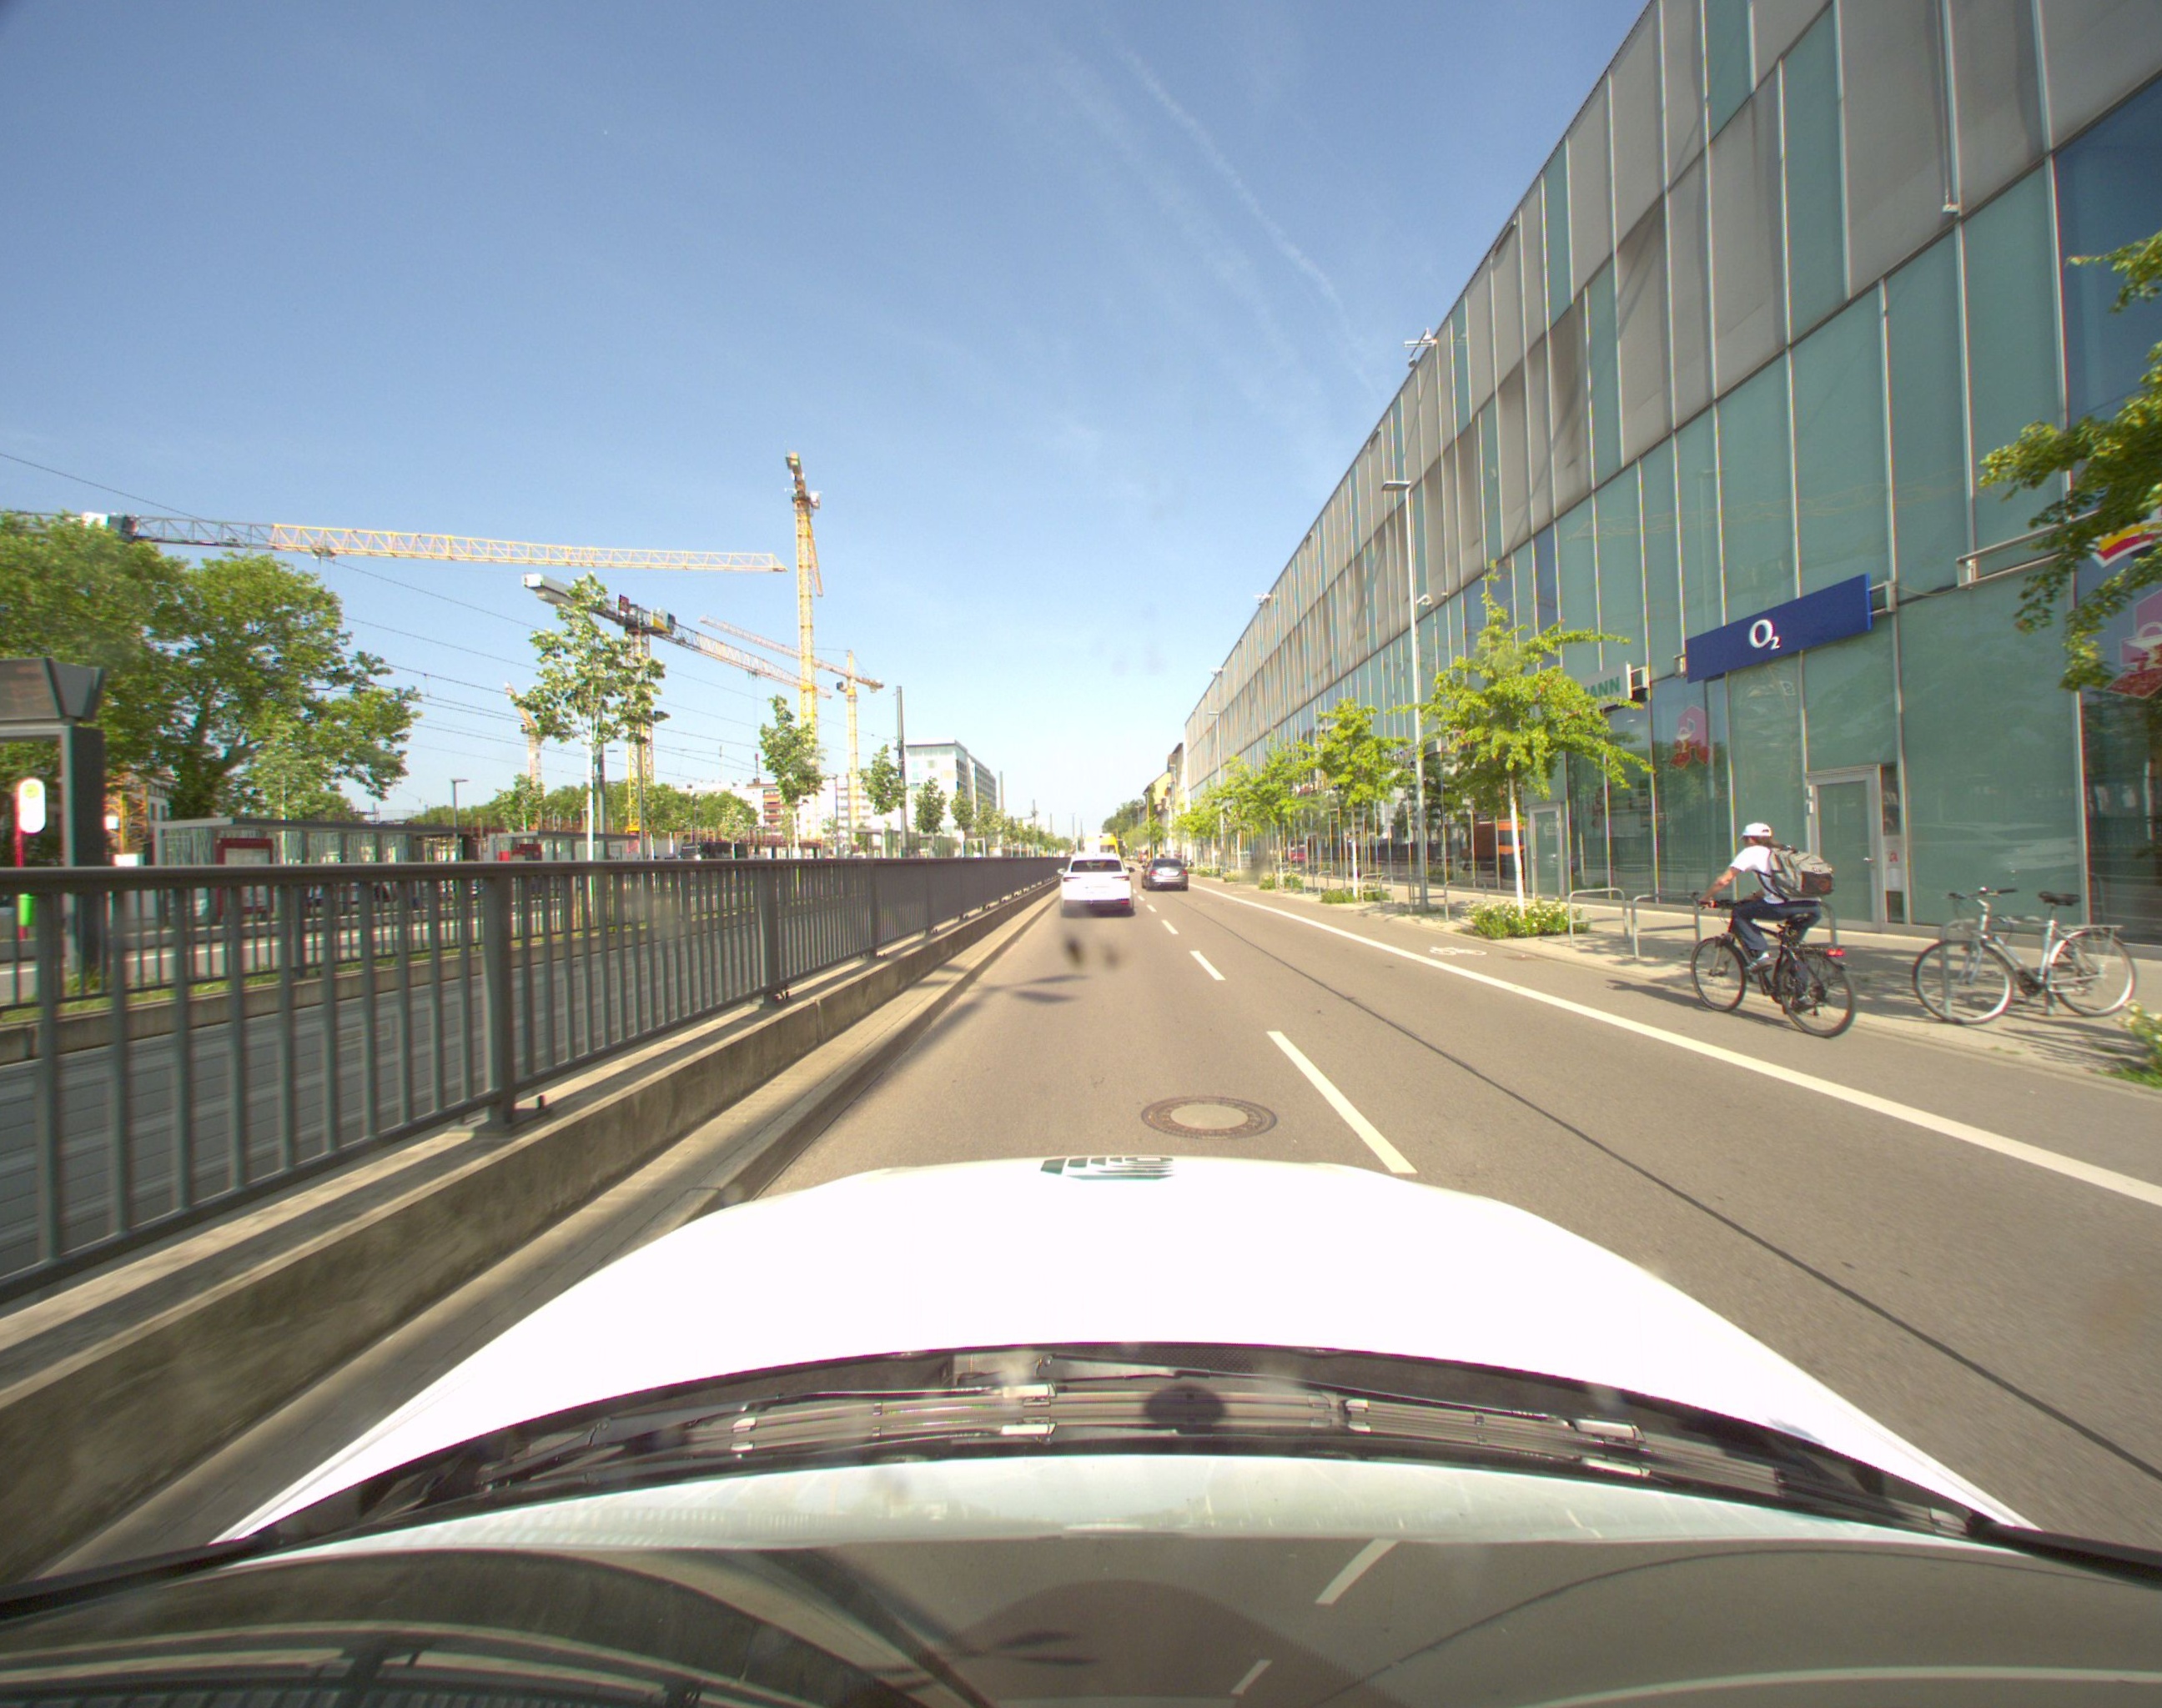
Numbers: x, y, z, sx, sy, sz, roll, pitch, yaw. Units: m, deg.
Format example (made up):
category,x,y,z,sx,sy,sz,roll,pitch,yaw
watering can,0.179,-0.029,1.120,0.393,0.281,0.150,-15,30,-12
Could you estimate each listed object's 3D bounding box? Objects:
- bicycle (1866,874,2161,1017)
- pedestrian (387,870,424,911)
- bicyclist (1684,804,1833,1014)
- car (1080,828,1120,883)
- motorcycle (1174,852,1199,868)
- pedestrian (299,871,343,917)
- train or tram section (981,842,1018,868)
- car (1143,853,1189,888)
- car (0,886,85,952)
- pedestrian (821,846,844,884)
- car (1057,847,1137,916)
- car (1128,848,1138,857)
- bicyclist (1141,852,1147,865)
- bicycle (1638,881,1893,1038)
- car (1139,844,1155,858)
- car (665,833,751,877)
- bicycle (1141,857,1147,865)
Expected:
category,x,y,z,sx,sy,sz,roll,pitch,yaw
bicycle,7.875,0.758,6.909,1.870,1.109,0.491,-2,0,3
pedestrian,-22.183,1.180,26.743,0.678,1.300,0.592,-2,0,-2
bicyclist,5.989,0.466,7.239,0.648,1.749,0.770,-2,0,4
car,1.107,0.003,45.471,2.013,2.795,5.404,-2,2,2
motorcycle,9.245,0.530,71.565,1.968,1.349,0.865,-2,0,-10
pedestrian,-22.218,1.163,23.806,0.678,1.300,0.592,-2,0,-2
train or tram section,-12.598,0.167,127.936,2.893,3.676,18.153,0,0,3
car,3.695,0.672,35.965,1.754,1.436,4.117,0,0,2
car,-29.150,1.756,20.990,1.714,1.662,4.152,-2,0,2
pedestrian,-10.847,0.458,35.580,0.733,1.619,0.711,-2,0,1
car,0.438,0.655,21.389,1.863,1.574,4.002,-2,0,2
car,10.748,-0.374,169.507,1.806,1.812,3.836,-1,0,1
bicyclist,7.661,0.540,99.394,0.636,1.577,0.772,-2,0,3
bicycle,5.998,0.854,7.334,0.658,1.117,2.053,-2,0,4
car,10.167,-0.518,126.106,2.056,2.013,4.589,-2,1,1
car,-32.273,0.106,71.014,3.043,3.513,9.235,-1,0,1
bicycle,7.668,0.841,99.328,0.652,0.938,1.518,-2,0,4
